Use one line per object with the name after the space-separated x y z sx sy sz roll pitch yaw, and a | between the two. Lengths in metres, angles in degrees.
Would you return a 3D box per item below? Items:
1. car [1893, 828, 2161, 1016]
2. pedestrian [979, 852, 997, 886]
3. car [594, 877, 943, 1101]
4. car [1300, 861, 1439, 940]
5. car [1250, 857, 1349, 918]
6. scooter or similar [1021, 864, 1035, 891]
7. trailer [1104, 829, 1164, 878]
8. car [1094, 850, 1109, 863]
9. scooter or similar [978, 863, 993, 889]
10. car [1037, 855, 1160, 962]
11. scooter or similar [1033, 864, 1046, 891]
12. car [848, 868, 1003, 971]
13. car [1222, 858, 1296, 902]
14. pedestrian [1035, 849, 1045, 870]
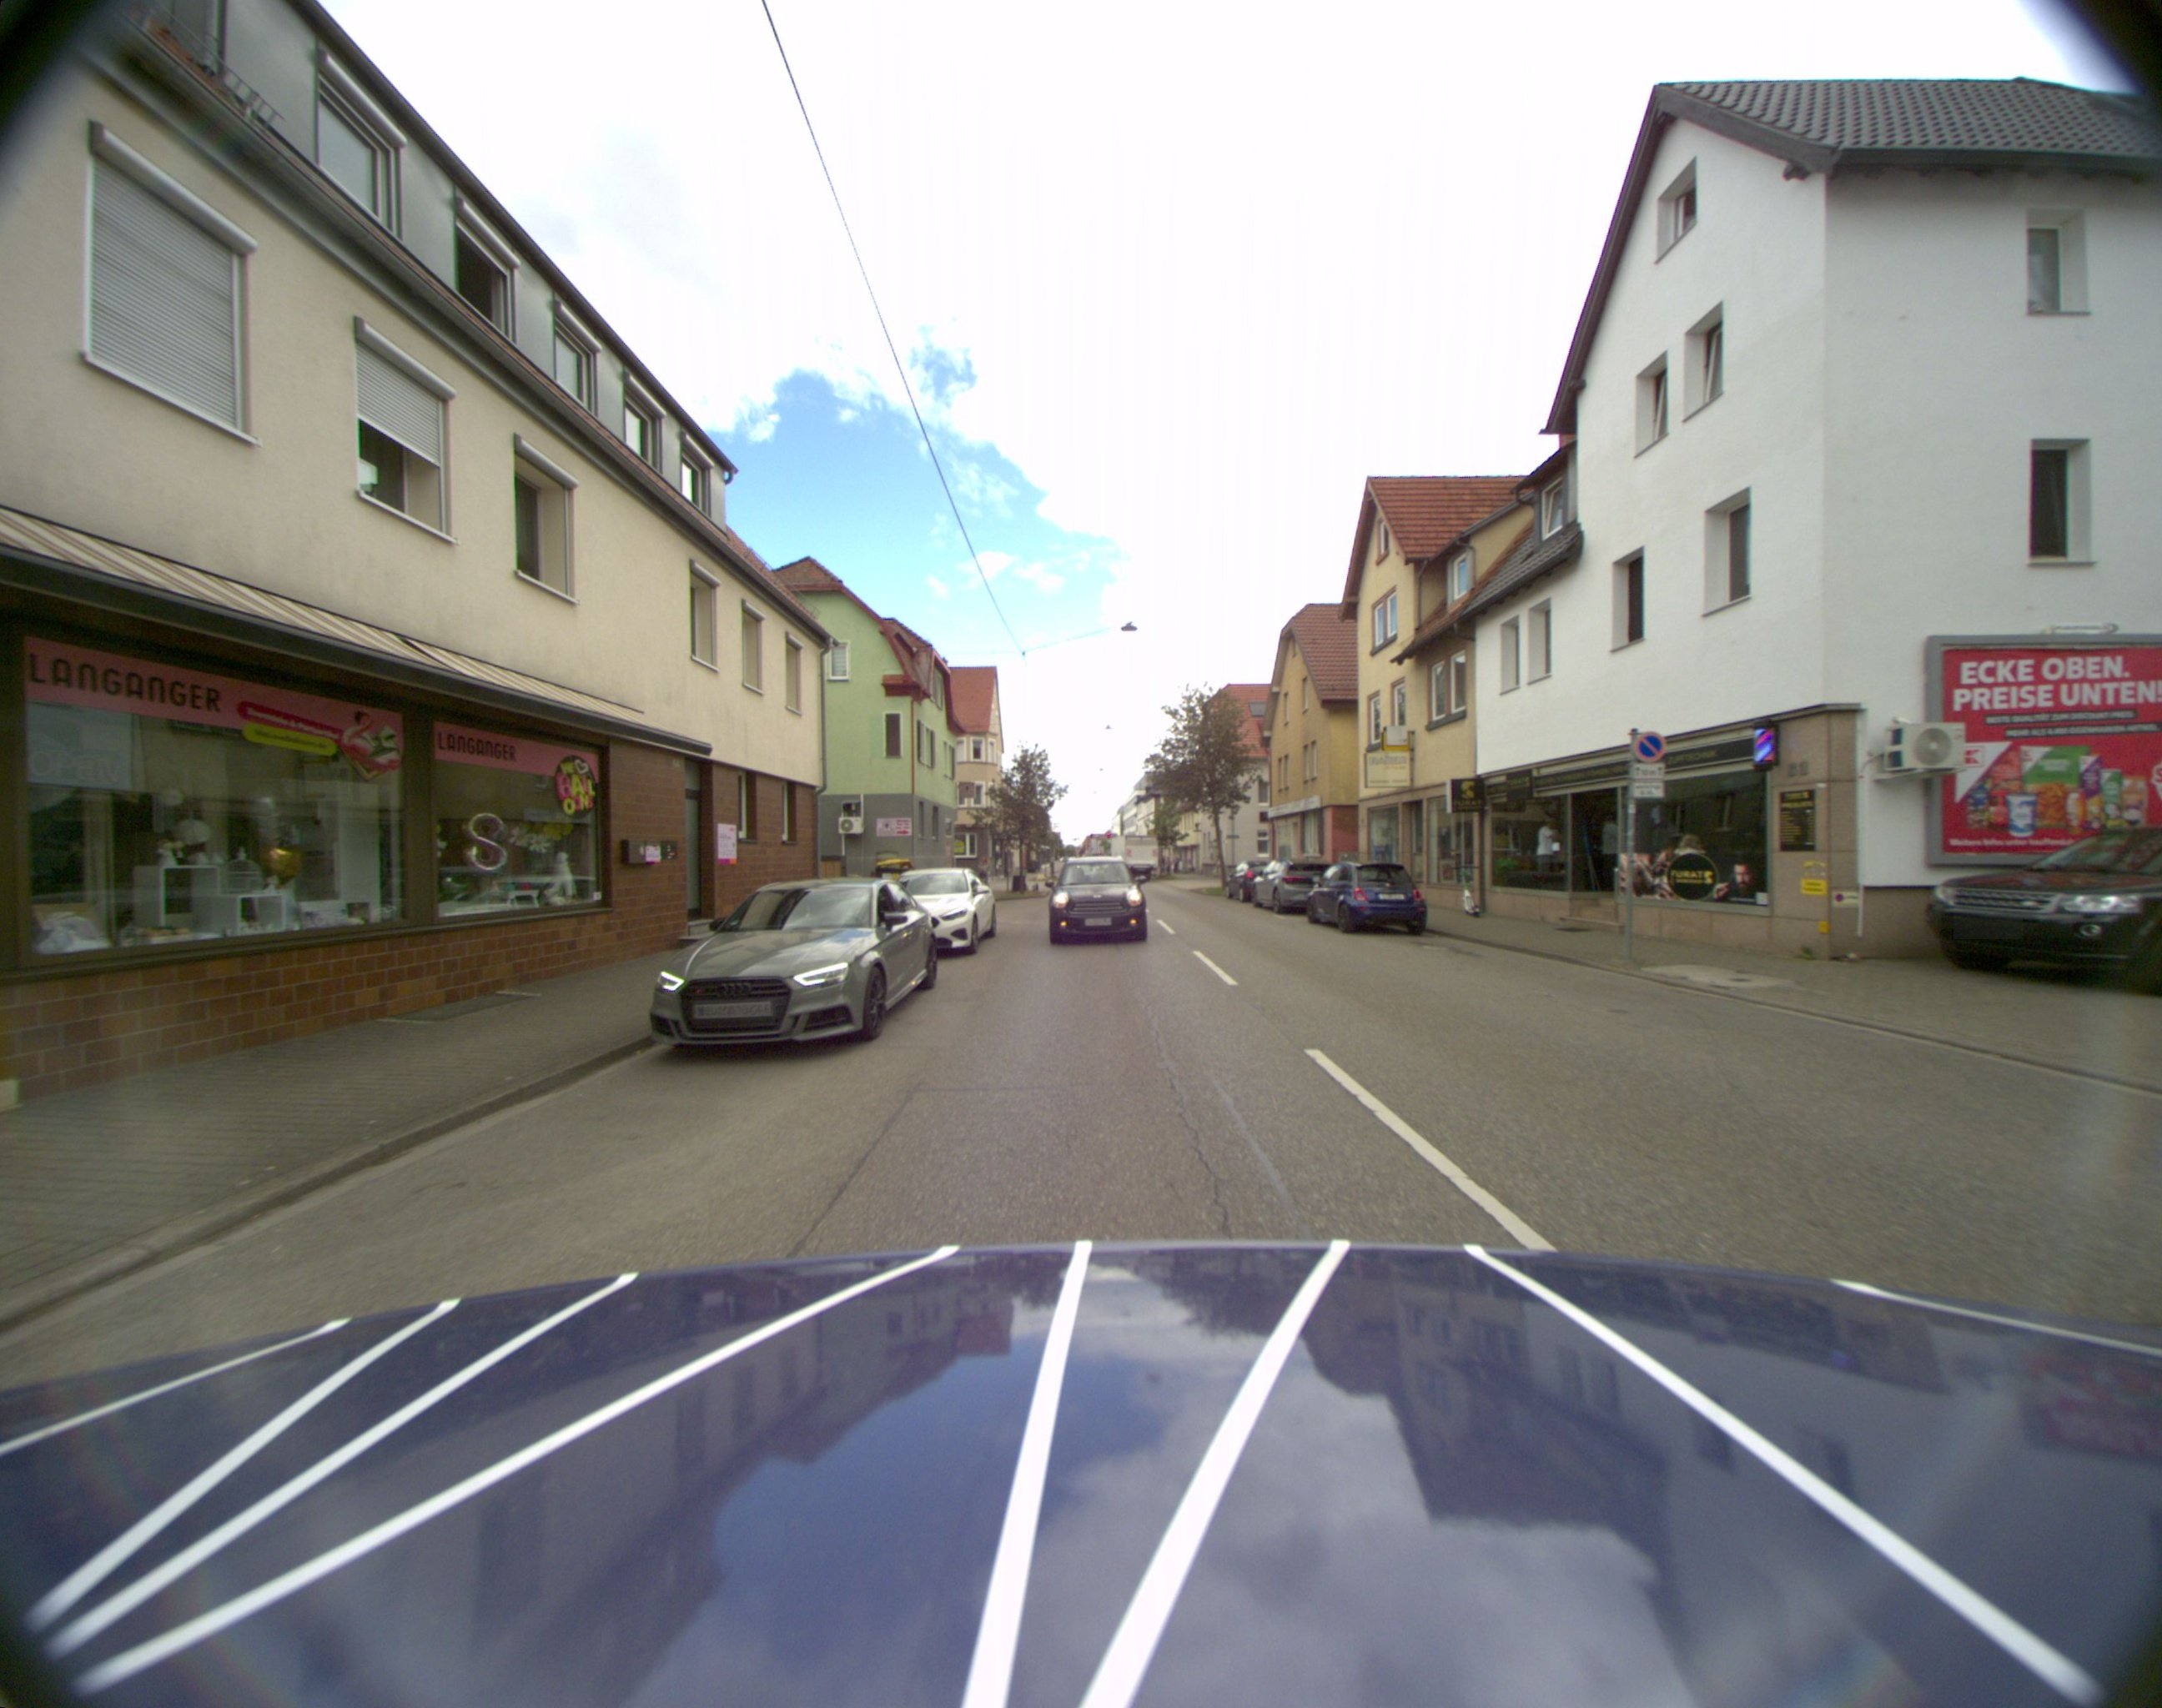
11.584 0.575 7.977 3.997 1.692 2.000 -2 0 -1 | car
-4.818 0.786 39.313 0.752 1.710 0.900 -2 1 1 | pedestrian
-2.658 1.049 7.624 1.836 1.437 4.109 -2 0 -1 | car
6.112 0.918 16.534 1.686 1.484 3.591 1 0 1 | car
6.164 0.877 21.900 1.714 1.557 4.113 1 0 1 | car
-2.576 1.121 37.207 0.503 1.228 1.942 -2 0 0 | scooter or similar
3.597 -0.094 53.689 2.511 3.201 7.127 -1 1 -10 | trailer
2.831 0.277 105.992 1.998 1.785 4.277 0 0 0 | car
-4.833 1.107 38.405 0.591 1.225 0.891 -2 1 0 | scooter or similar
0.286 0.864 14.170 1.847 1.571 4.429 -3 0 0 | car
-2.040 1.135 37.211 0.503 1.228 1.942 -2 0 0 | scooter or similar
-2.604 1.044 13.805 1.835 1.437 4.331 -2 0 0 | car
6.303 0.872 27.302 1.687 1.416 3.930 1 0 0 | car
-4.204 0.576 77.962 0.826 2.062 1.011 2 1 3 | pedestrian
